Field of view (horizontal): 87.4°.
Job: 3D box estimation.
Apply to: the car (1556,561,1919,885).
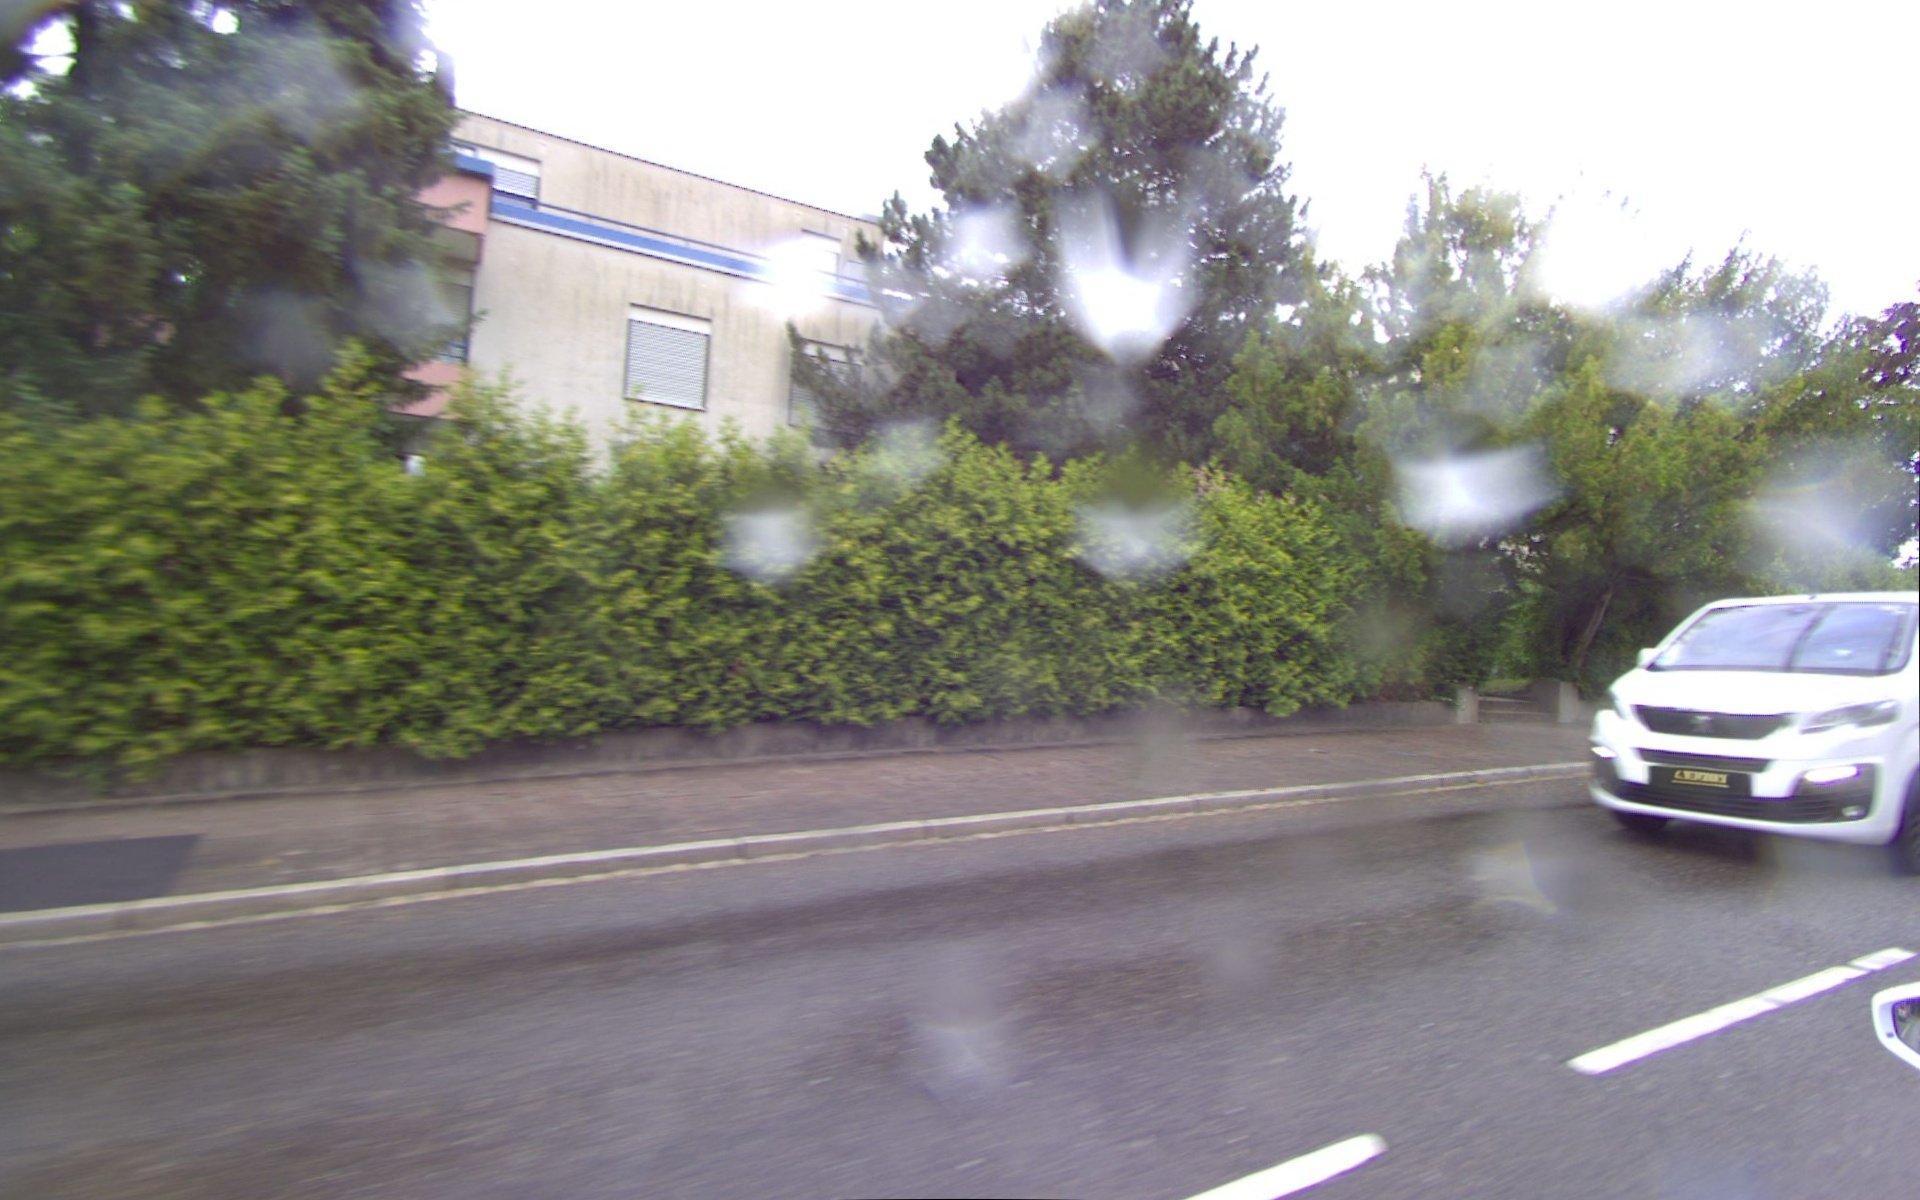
[{"bbox_3d":[7.199,0.832,8.042,4.966,1.941,1.856,1,-3,-28],"label":"car"}]
